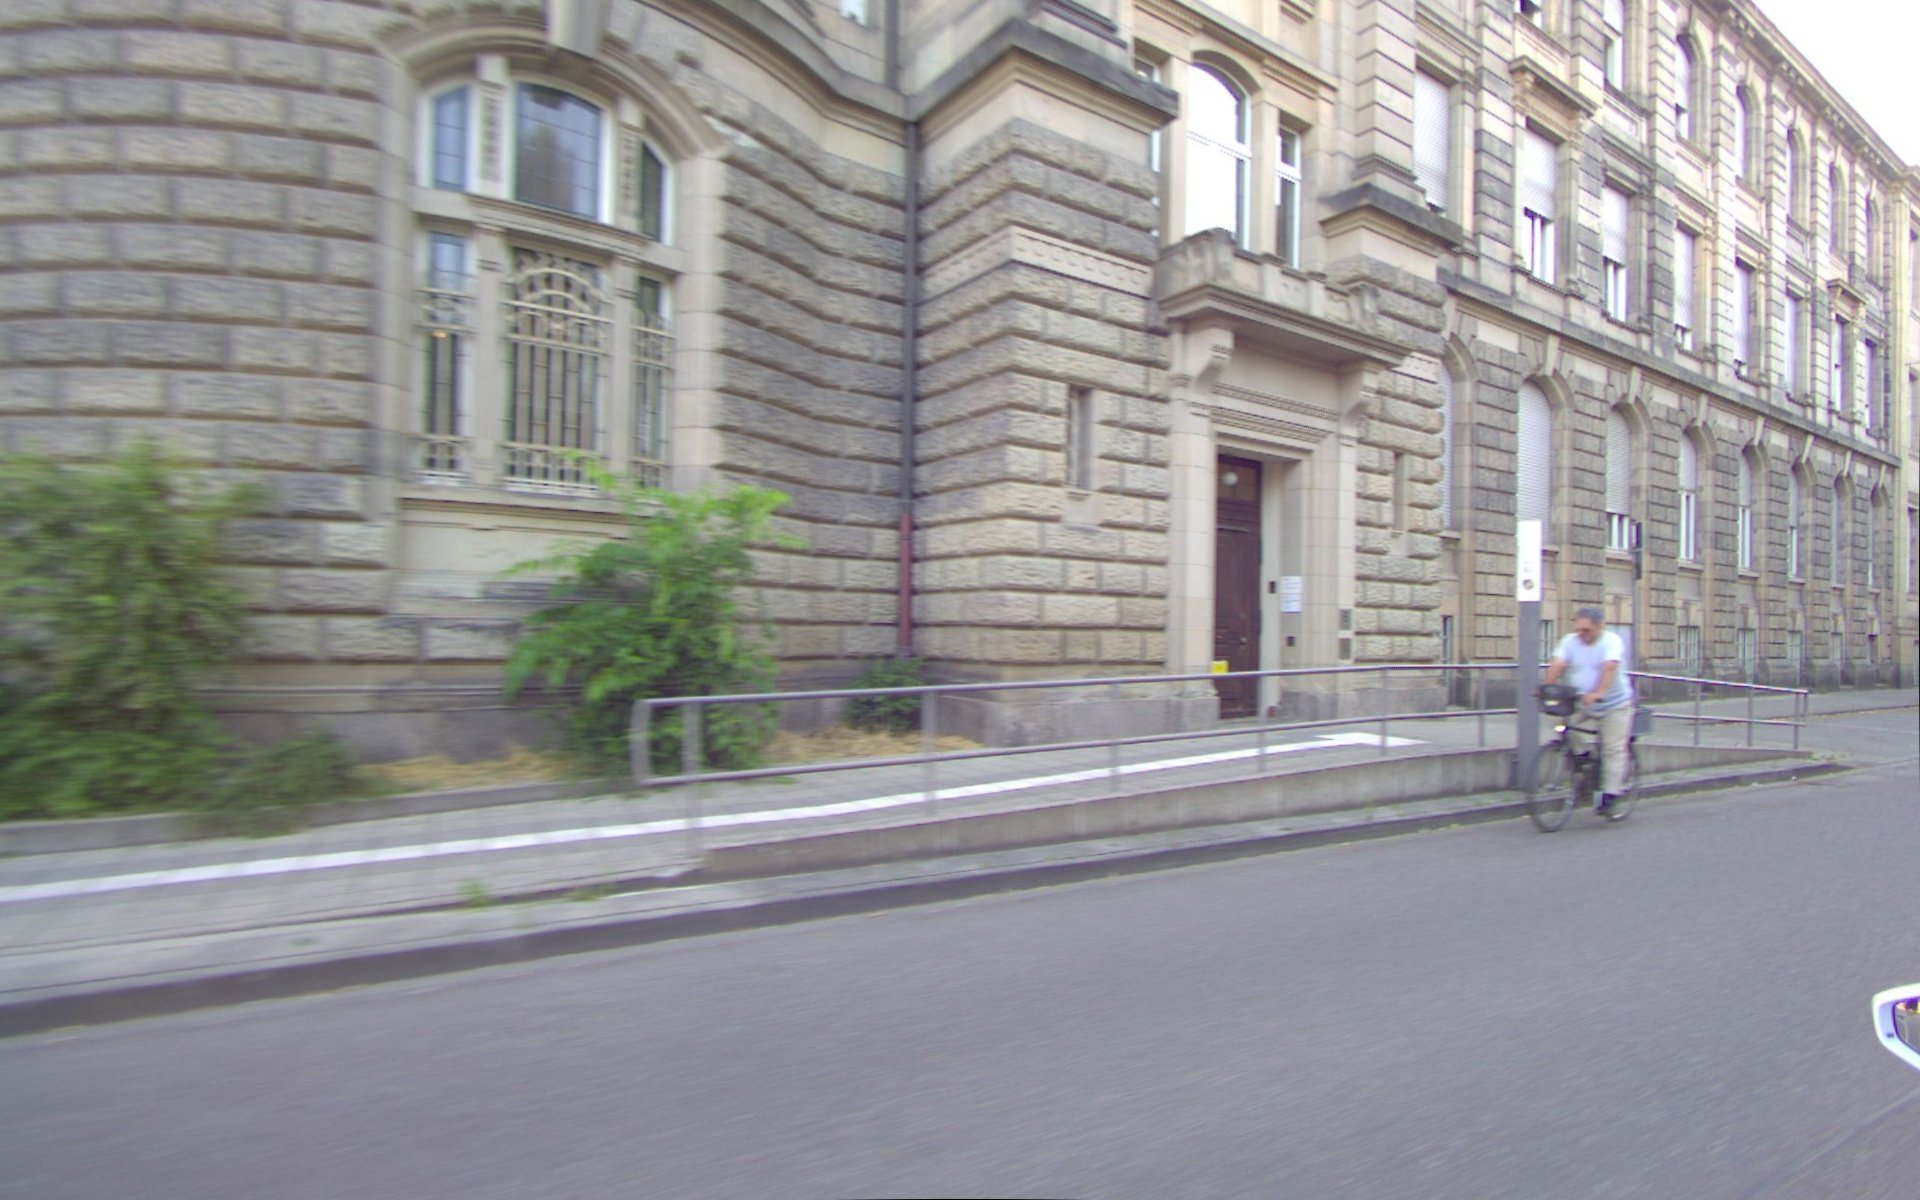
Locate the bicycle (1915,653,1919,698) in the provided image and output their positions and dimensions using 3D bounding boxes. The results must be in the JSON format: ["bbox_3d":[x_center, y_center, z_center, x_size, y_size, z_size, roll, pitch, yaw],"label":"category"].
[{"bbox_3d":[24.752,1.908,25.066,1.960,1.116,0.848,2,0,-32],"label":"bicycle"}]

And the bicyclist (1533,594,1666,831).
[{"bbox_3d":[5.241,0.884,8.244,0.771,1.830,0.642,2,-2,-30],"label":"bicyclist"}]

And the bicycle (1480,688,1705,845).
[{"bbox_3d":[5.205,1.299,8.220,2.128,1.084,0.659,2,-2,-30],"label":"bicycle"}]
